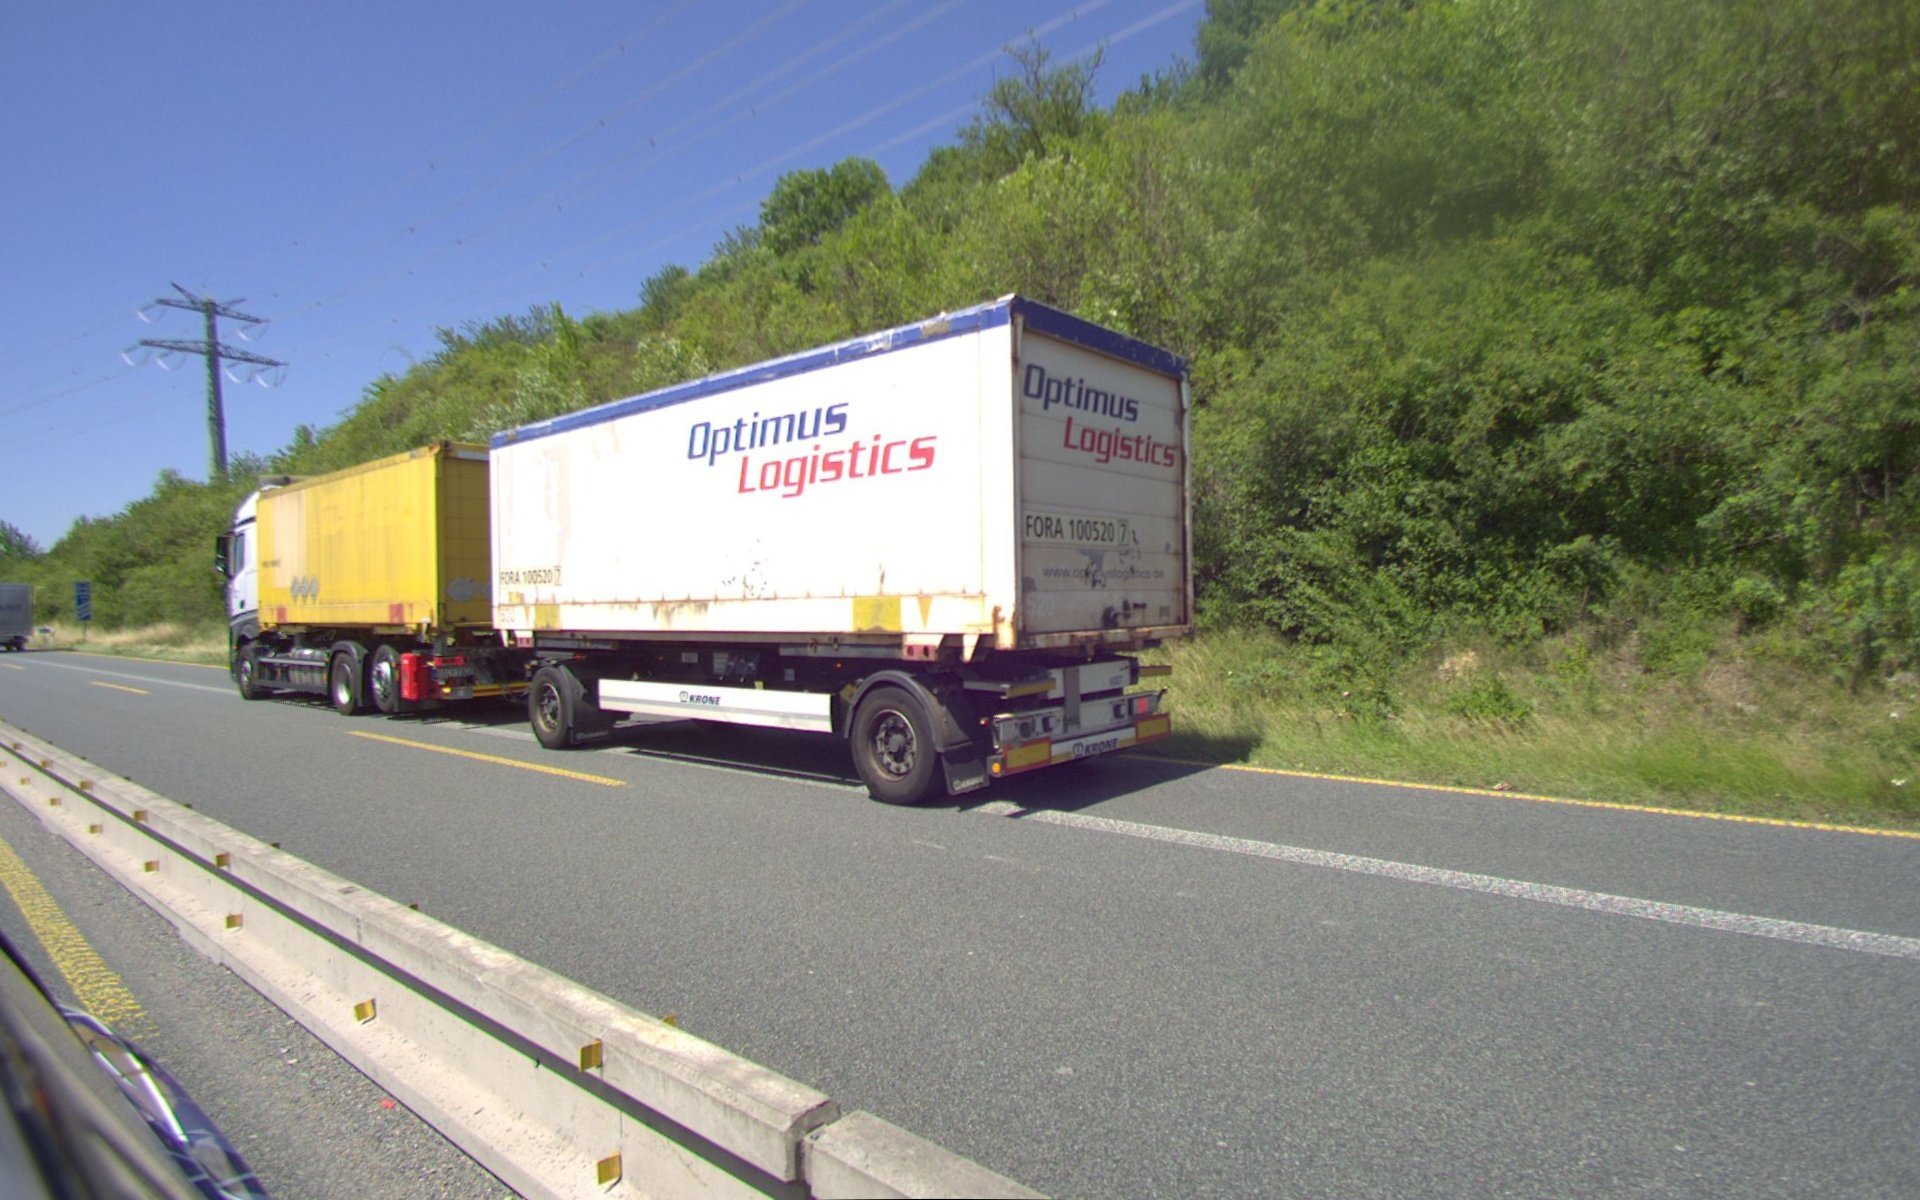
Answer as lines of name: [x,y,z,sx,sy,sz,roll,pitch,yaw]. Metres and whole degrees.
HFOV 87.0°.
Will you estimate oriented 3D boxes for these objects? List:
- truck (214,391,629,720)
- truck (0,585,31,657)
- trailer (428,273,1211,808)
truck: [-9.251,-0.496,16.537,9.646,4.022,2.622,-2,1,41]
truck: [-47.880,1.032,49.862,7.498,3.355,2.380,-1,0,42]
trailer: [-2.178,-0.335,10.303,8.914,3.361,2.623,-2,1,41]
